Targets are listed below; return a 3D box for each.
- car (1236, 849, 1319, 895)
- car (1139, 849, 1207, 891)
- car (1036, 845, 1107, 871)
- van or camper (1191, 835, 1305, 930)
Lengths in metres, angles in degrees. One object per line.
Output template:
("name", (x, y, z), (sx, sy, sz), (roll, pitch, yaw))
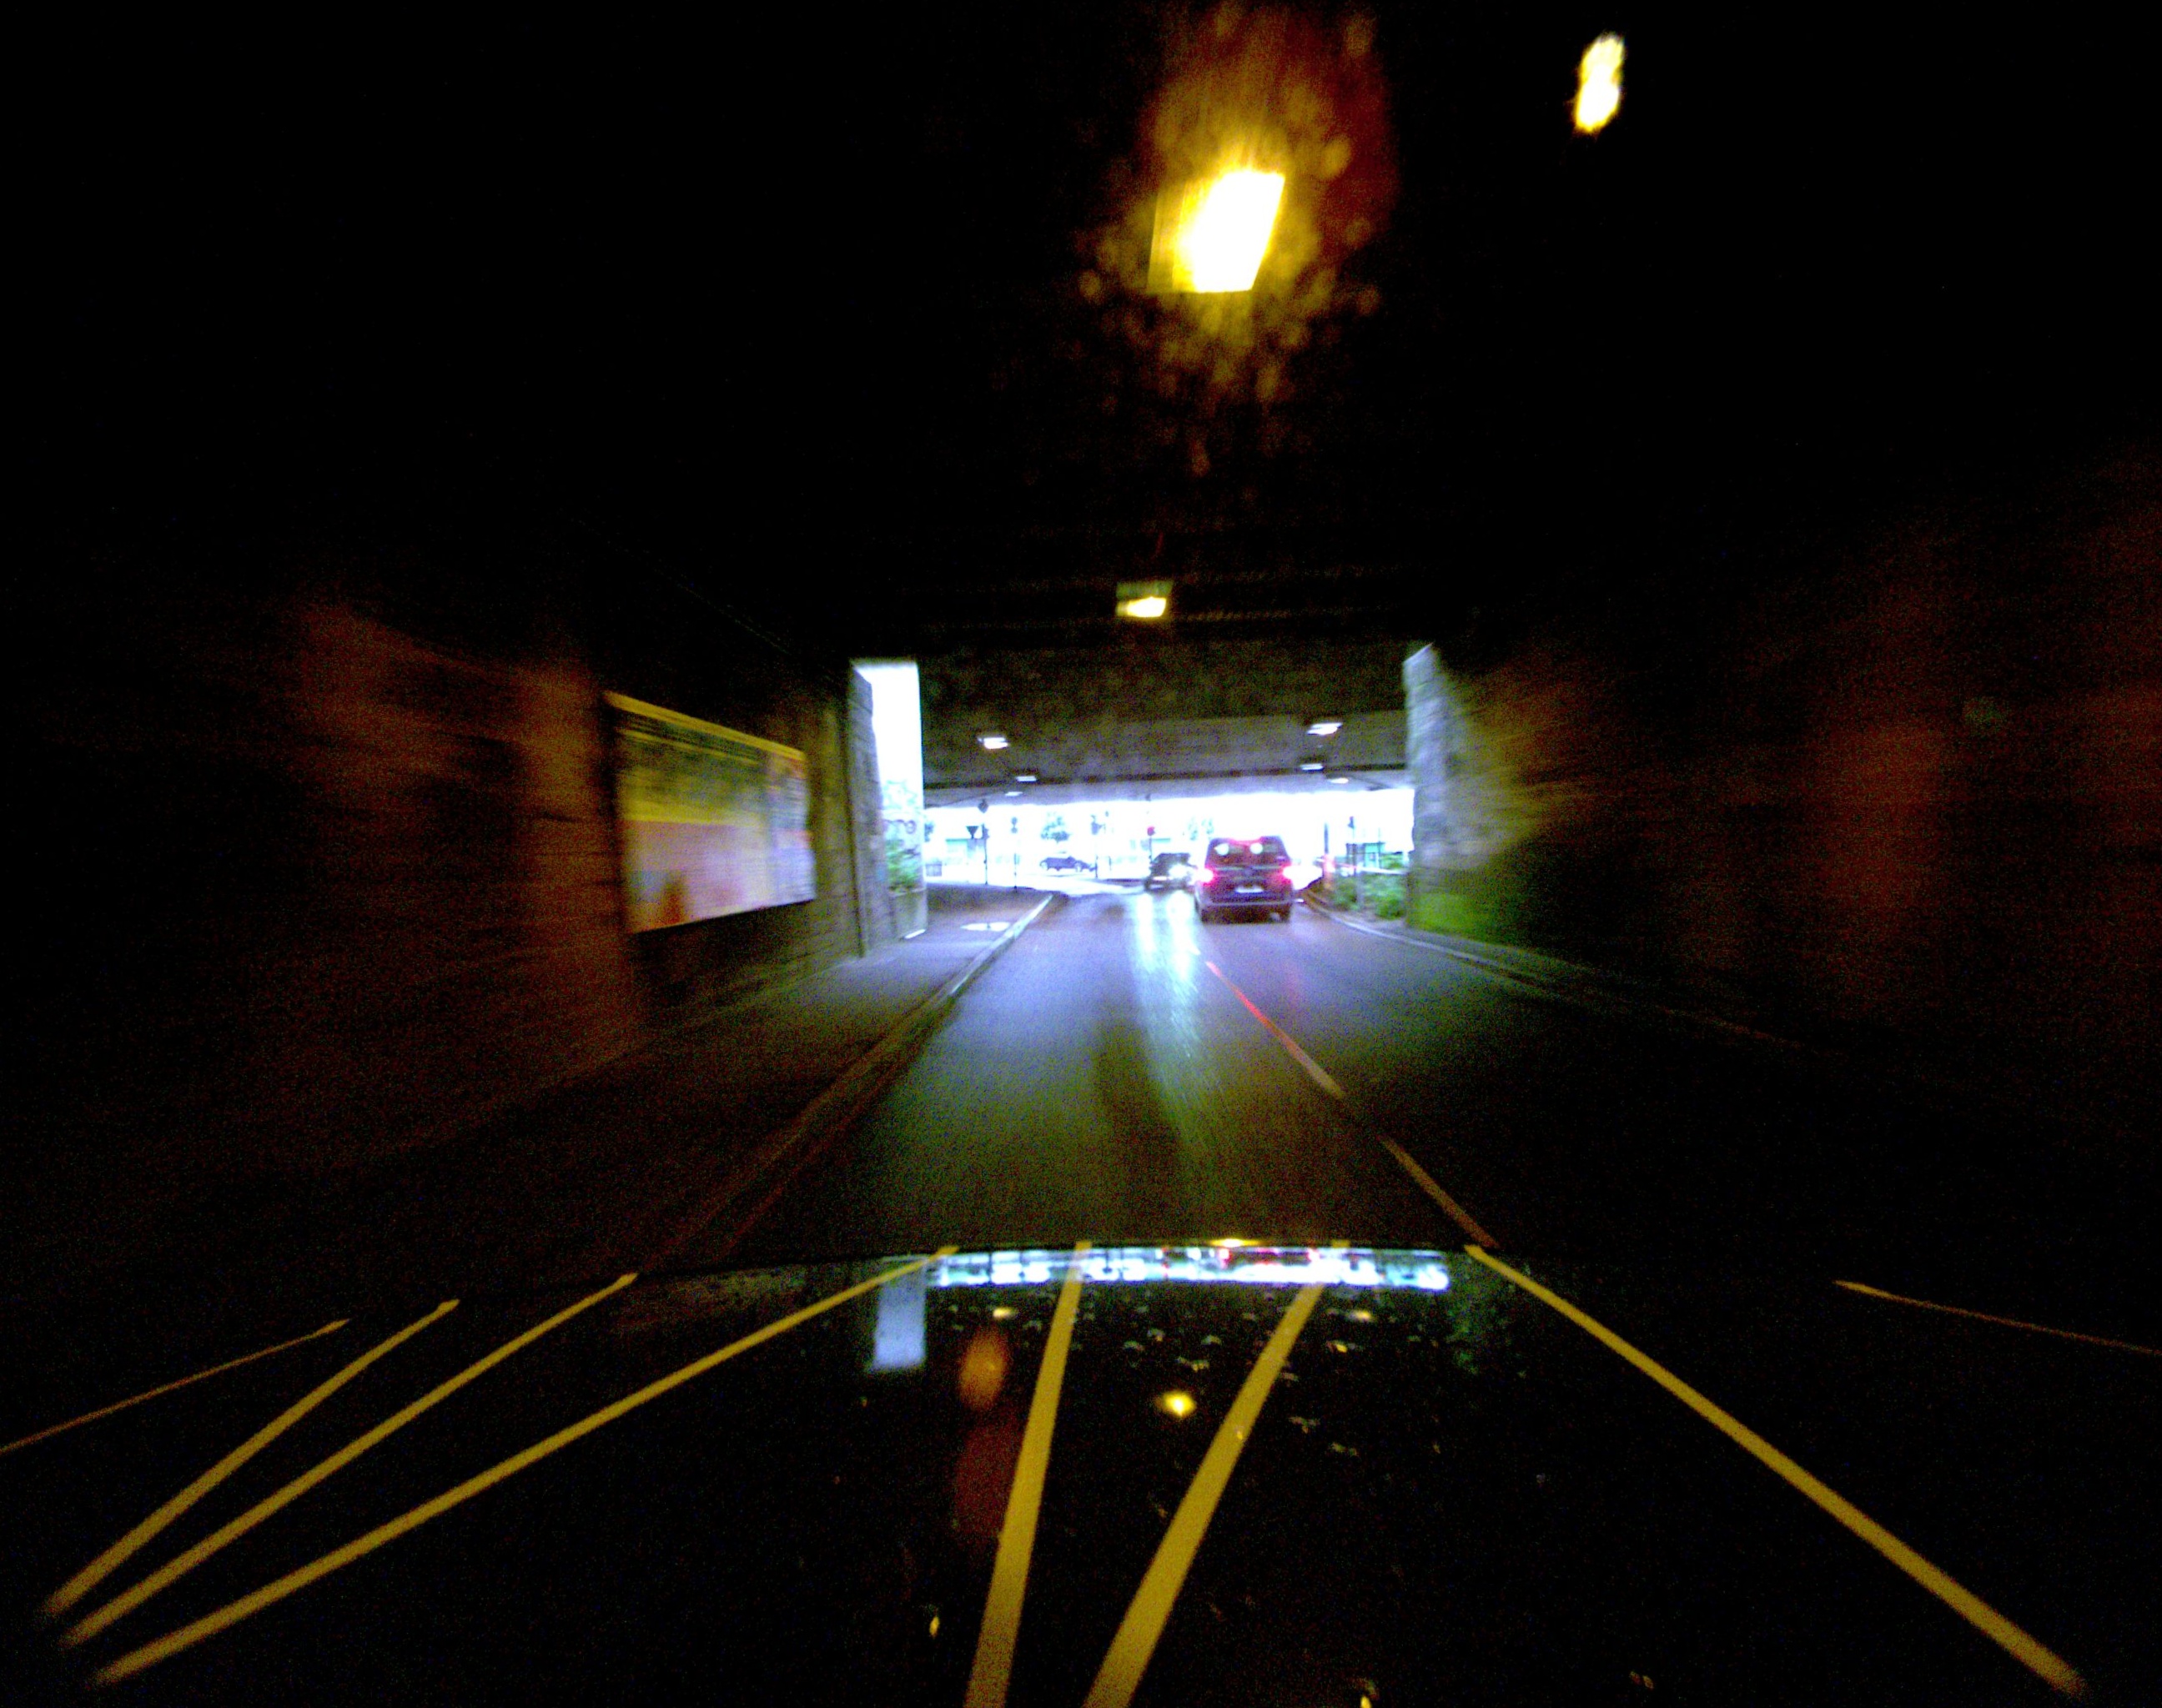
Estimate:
("car", (8.070, 0.683, 30.910), (1.995, 1.520, 4.508), (-6, -2, 30))
("car", (3.777, 0.639, 30.620), (1.704, 1.548, 4.007), (0, -1, 22))
("car", (-0.596, 0.218, 48.995), (4.223, 1.571, 1.772), (1, 3, 26))
("van or camper", (3.622, 0.514, 17.389), (1.997, 1.857, 5.140), (0, 1, 6))
